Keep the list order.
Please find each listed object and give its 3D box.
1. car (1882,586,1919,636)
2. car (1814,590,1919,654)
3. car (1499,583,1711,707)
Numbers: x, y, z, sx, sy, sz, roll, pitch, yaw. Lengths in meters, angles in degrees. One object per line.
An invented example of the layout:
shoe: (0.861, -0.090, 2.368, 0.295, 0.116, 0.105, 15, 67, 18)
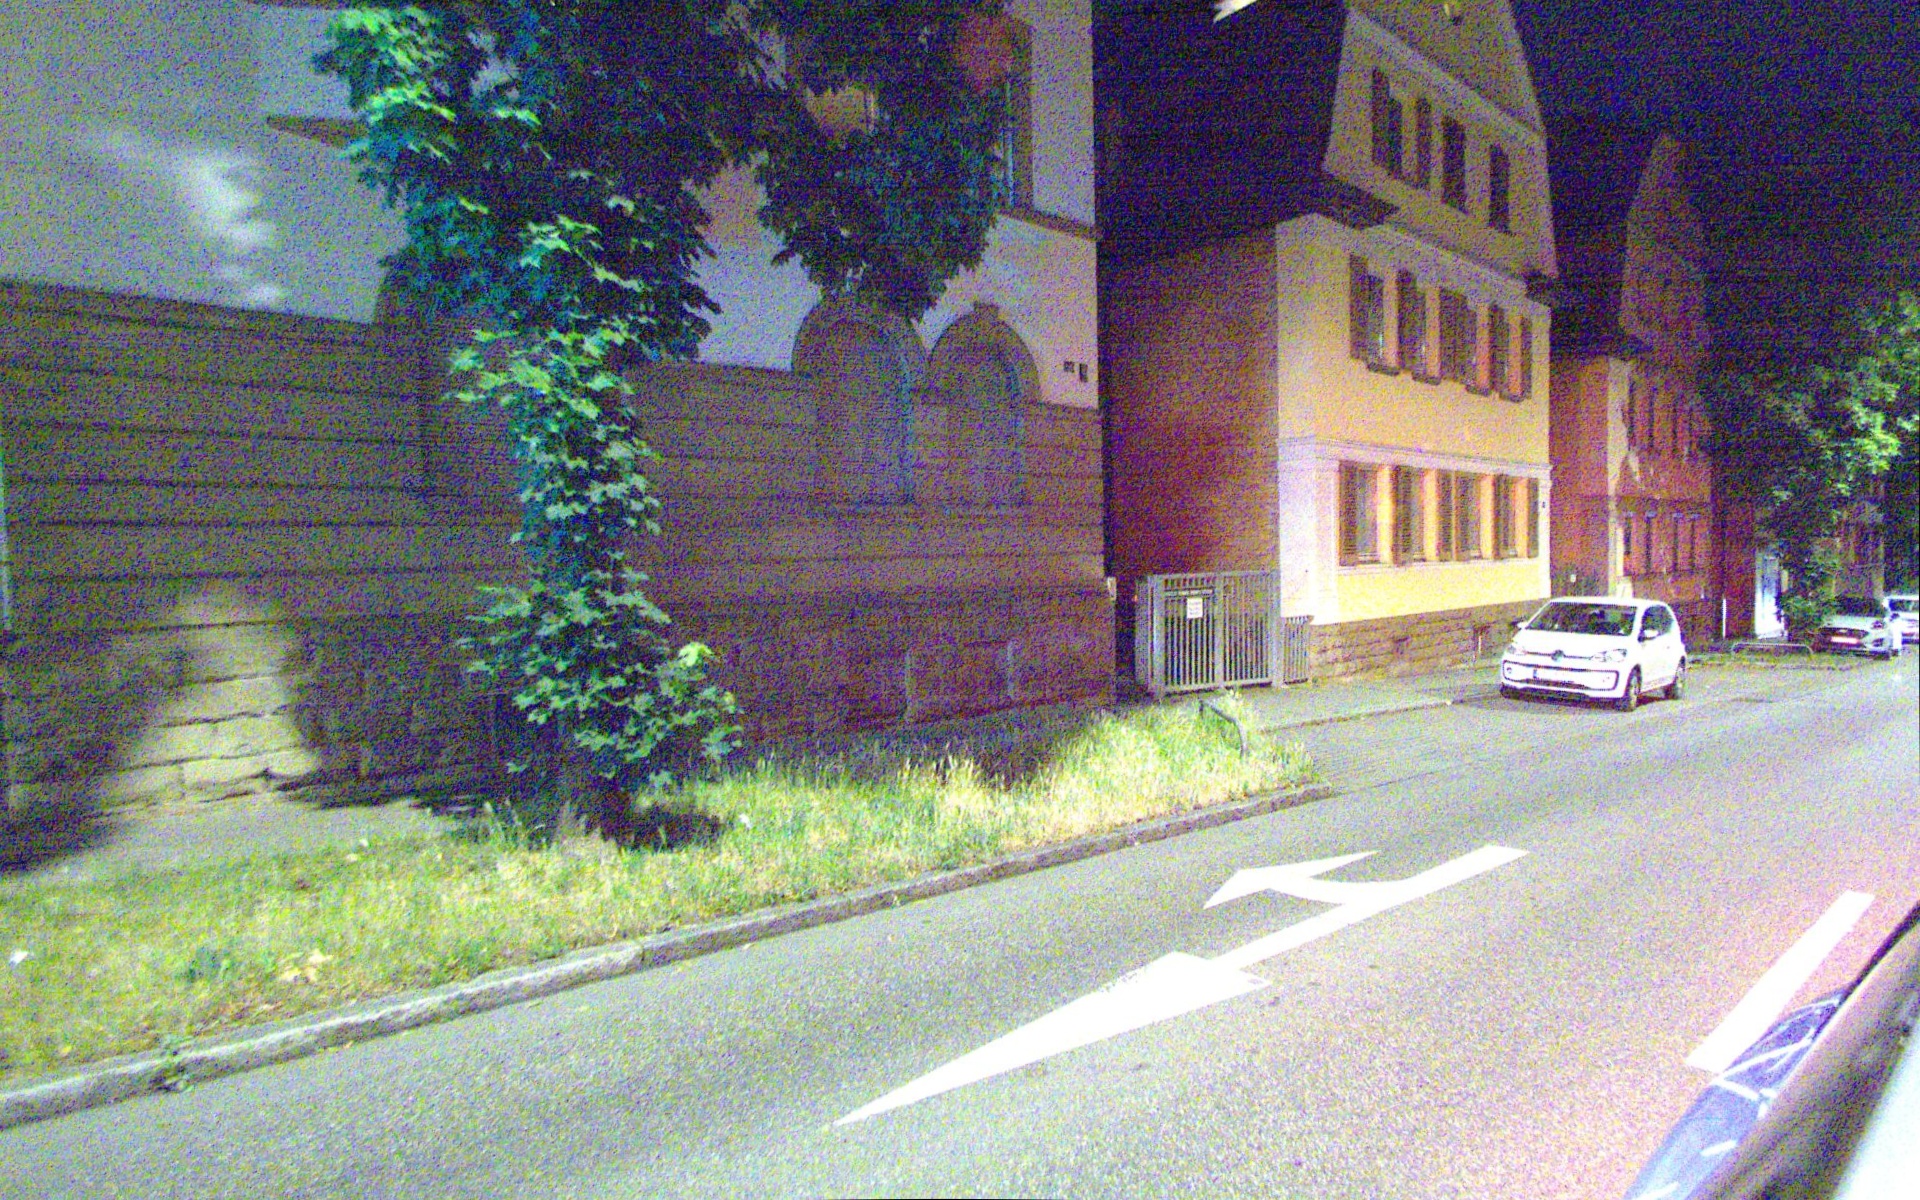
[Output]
car: (33.543, 0.370, 35.137, 4.107, 1.673, 1.850, 0, 0, -42)
car: (23.619, 0.510, 26.279, 3.824, 1.516, 1.740, 0, 2, -43)
car: (9.287, 0.559, 14.492, 3.425, 1.527, 1.610, 0, 2, -41)
